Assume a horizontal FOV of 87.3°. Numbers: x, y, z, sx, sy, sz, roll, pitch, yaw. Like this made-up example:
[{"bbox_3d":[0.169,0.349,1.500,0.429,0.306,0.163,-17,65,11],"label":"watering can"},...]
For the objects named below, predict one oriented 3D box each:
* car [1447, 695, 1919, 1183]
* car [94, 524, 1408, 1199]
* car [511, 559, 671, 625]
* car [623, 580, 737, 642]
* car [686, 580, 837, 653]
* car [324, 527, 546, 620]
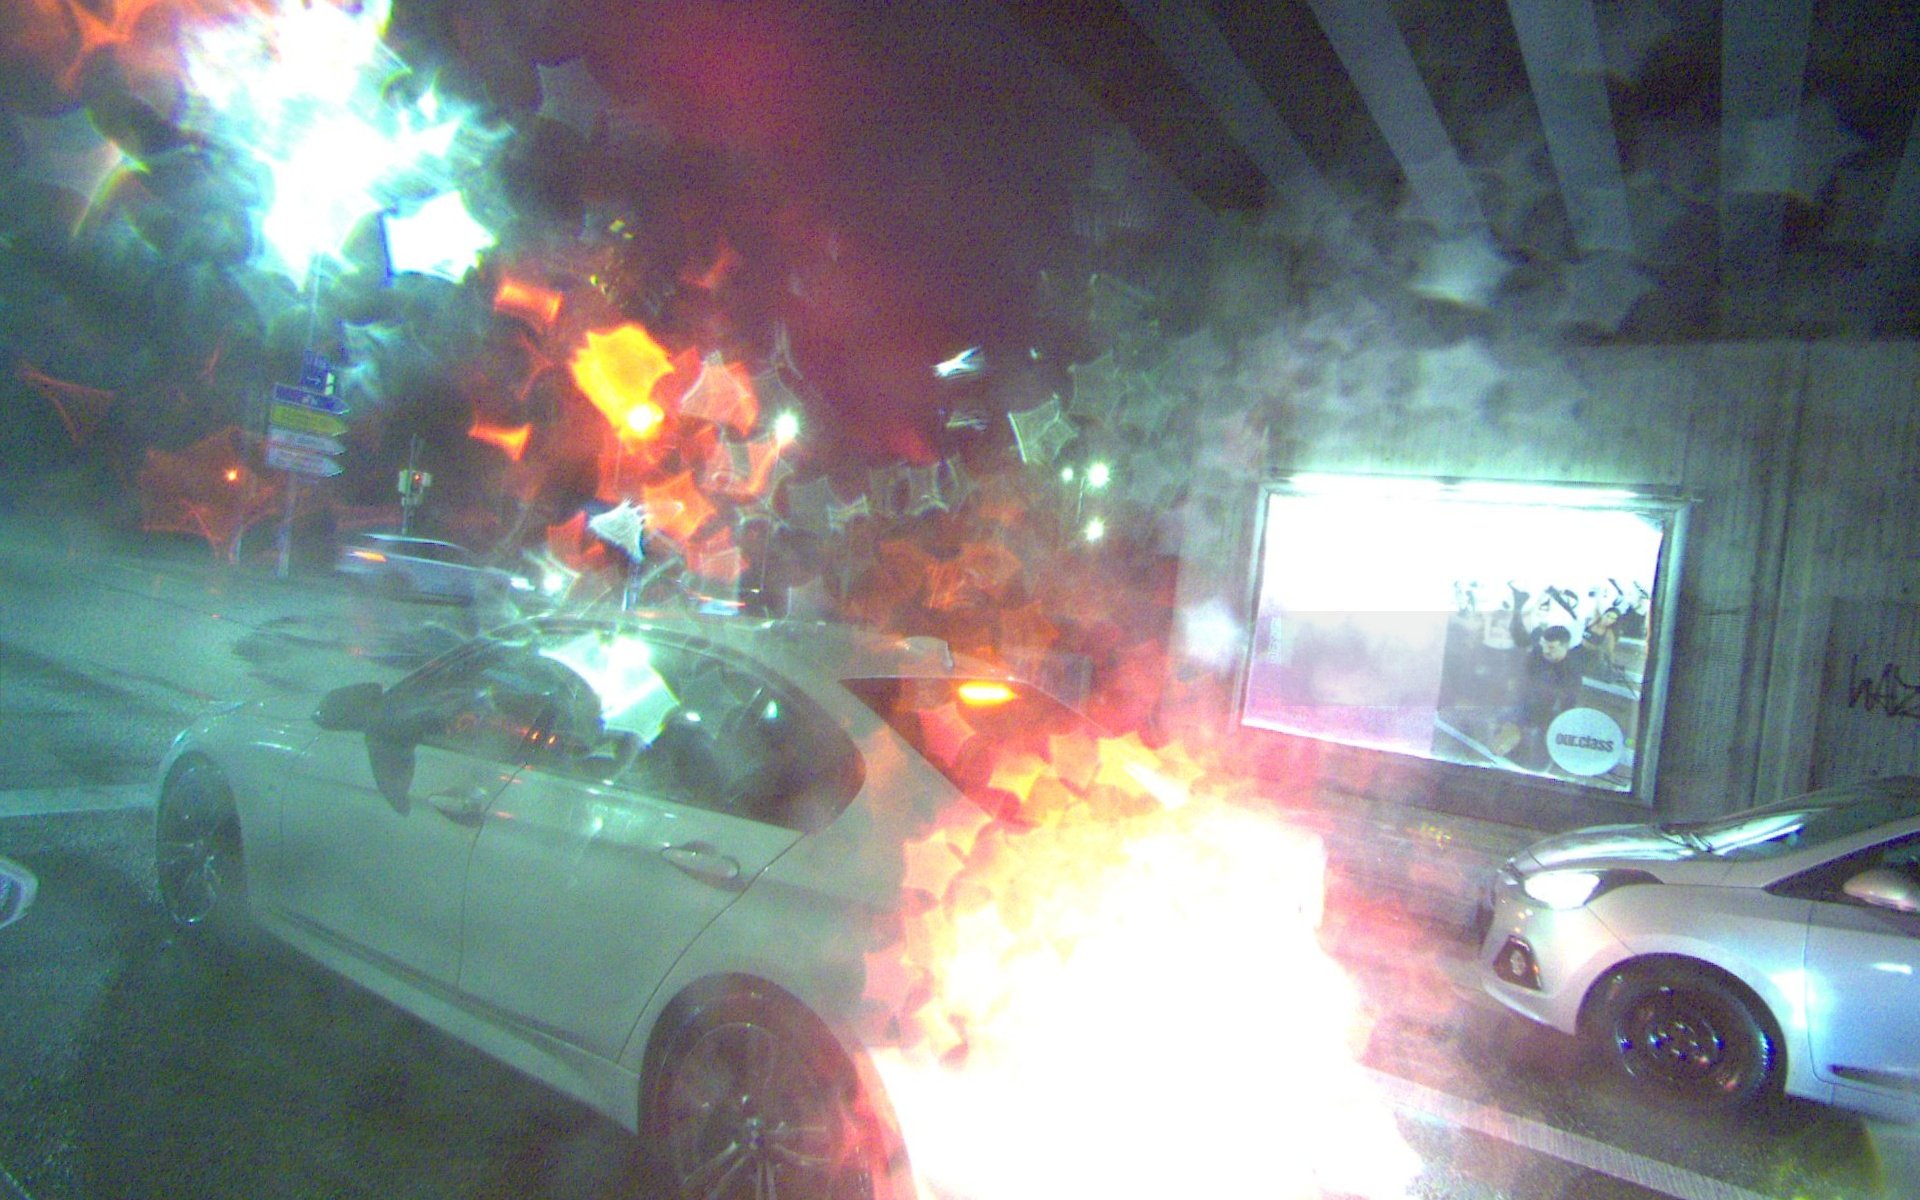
[{"bbox_3d":[4.323,1.412,3.971,4.092,1.464,1.722,6,0,31],"label":"car"},{"bbox_3d":[-0.960,0.695,3.473,4.309,1.464,1.722,6,0,31],"label":"car"},{"bbox_3d":[-12.643,-0.240,34.786,1.826,1.608,4.851,6,-2,38],"label":"car"},{"bbox_3d":[-11.463,0.483,41.380,1.969,2.037,3.990,6,-2,35],"label":"car"},{"bbox_3d":[-5.831,0.535,30.141,1.806,1.668,4.423,6,-2,31],"label":"car"},{"bbox_3d":[-13.026,-0.605,25.192,1.814,1.690,4.446,6,-2,40],"label":"car"}]
